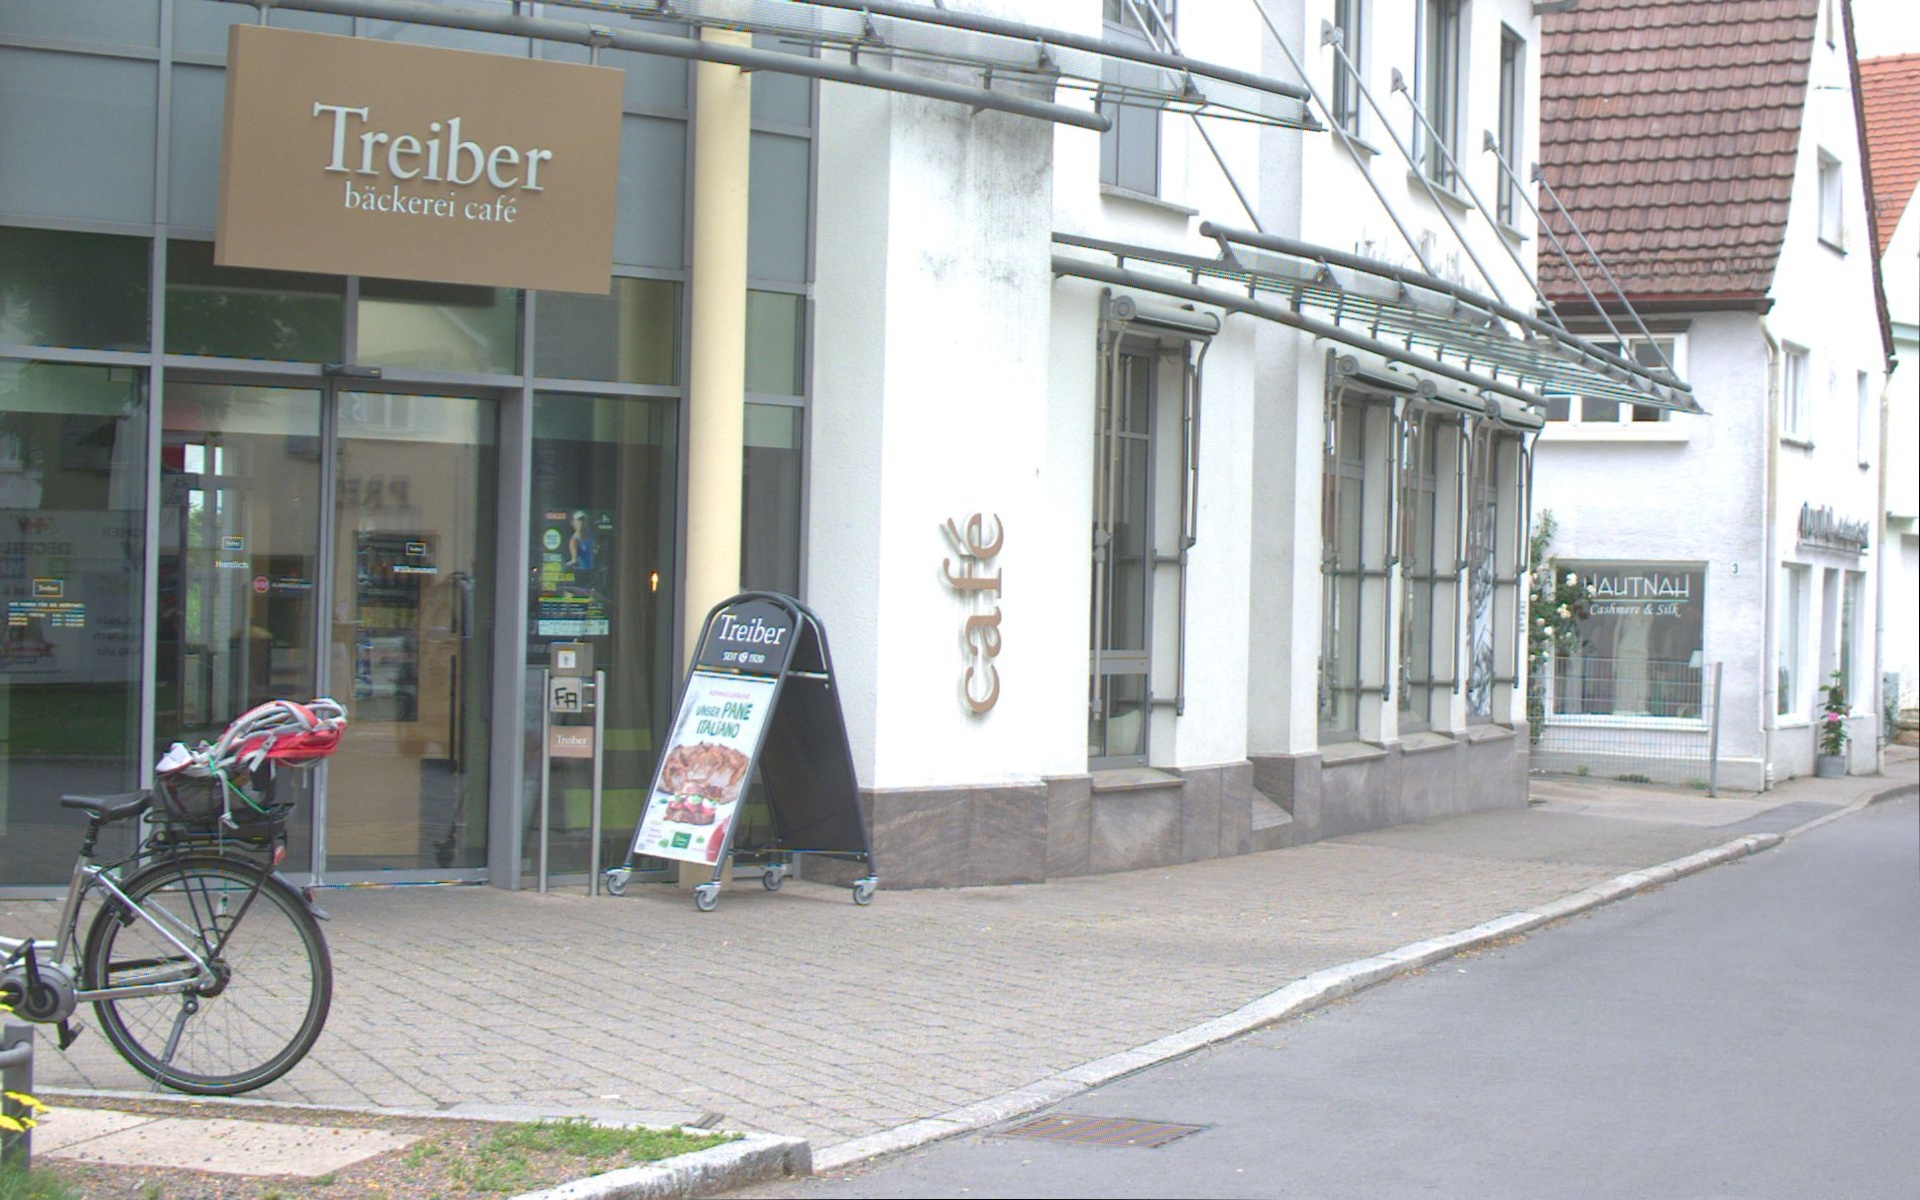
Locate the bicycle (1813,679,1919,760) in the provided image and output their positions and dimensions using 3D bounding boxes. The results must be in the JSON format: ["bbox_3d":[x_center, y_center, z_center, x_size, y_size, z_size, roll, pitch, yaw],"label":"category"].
[{"bbox_3d":[12.413,1.637,46.830,0.443,1.035,2.087,8,4,44],"label":"bicycle"}]

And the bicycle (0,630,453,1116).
[{"bbox_3d":[-2.517,0.729,9.757,1.974,1.235,0.744,3,1,4],"label":"bicycle"}]
